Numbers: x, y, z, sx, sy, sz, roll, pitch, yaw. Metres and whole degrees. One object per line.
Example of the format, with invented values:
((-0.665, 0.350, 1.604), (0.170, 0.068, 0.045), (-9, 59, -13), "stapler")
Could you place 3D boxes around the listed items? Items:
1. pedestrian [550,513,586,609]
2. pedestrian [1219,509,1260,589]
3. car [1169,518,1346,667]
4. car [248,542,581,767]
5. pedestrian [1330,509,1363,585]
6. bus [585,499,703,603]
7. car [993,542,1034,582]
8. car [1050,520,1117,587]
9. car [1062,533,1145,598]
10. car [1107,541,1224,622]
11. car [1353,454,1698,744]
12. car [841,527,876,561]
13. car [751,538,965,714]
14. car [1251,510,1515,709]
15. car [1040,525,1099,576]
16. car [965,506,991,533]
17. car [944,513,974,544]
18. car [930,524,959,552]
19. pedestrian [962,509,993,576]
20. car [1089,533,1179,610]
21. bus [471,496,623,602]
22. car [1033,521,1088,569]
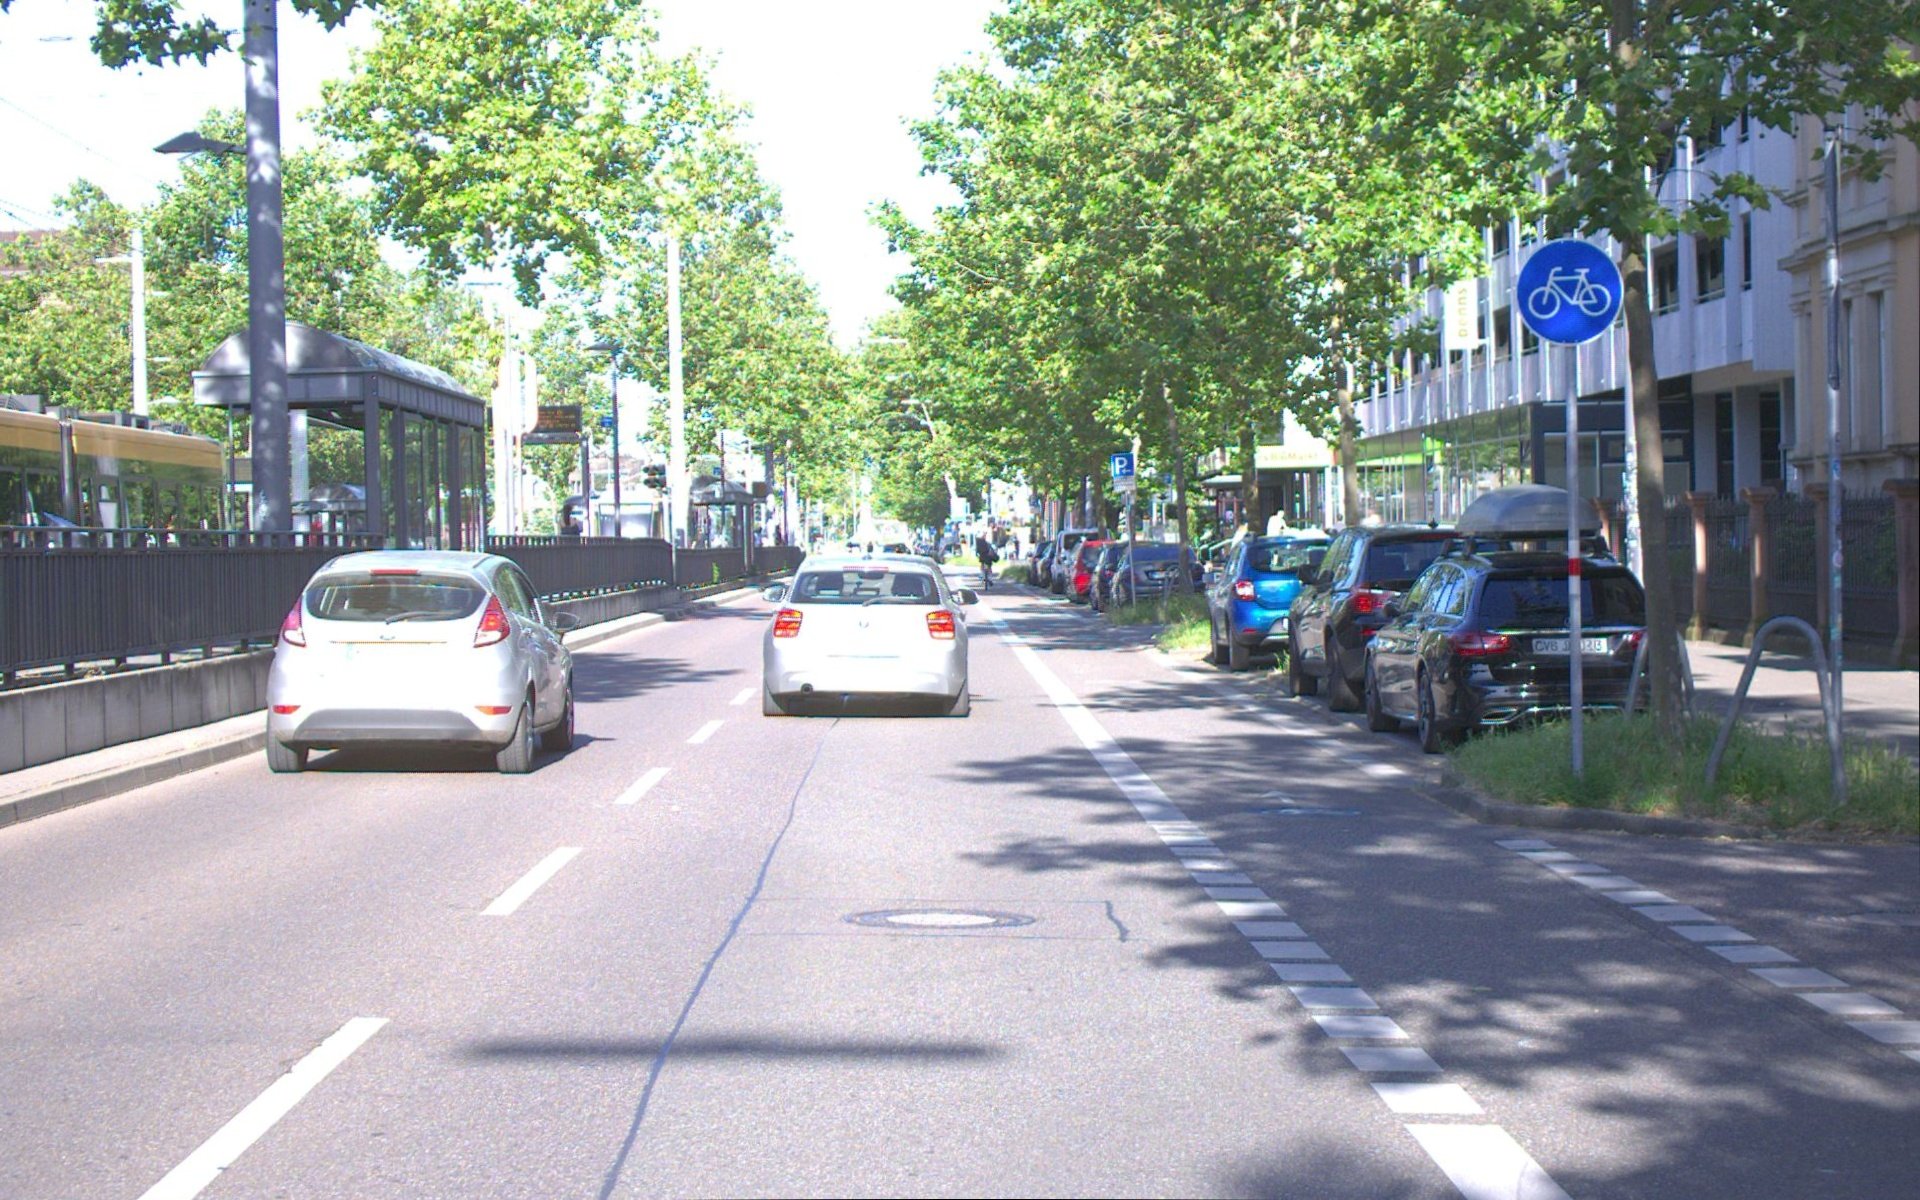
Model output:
((-7.991, -0.798, 70.103), (0.639, 1.947, 0.814), (1, 1, 0), "pedestrian")
((7.095, -1.303, 87.249), (0.963, 2.007, 0.938), (0, 1, 0), "pedestrian")
((3.510, -0.134, 41.141), (1.692, 1.652, 4.040), (-1, 2, -1), "car")
((-3.602, 0.308, 23.262), (1.646, 1.358, 3.760), (1, 1, 0), "car")
((10.269, -1.401, 91.420), (0.788, 2.007, 0.891), (0, 1, 0), "pedestrian")
((-11.786, -1.911, 129.947), (2.750, 3.613, 18.848), (-1, 1, 0), "bus")
((2.773, -2.012, 178.784), (1.993, 2.007, 4.000), (1, 1, 0), "car")
((3.512, -1.326, 98.284), (1.724, 1.874, 4.000), (1, 1, 0), "car")
((3.430, -0.821, 82.684), (1.806, 1.515, 4.000), (1, 0, 0), "car")
((3.985, -0.359, 67.362), (1.993, 1.504, 4.597), (1, 0, 0), "car")
((4.129, -0.057, 25.829), (1.754, 1.958, 4.738), (-1, 1, -1), "car")
((-6.118, -3.405, 207.817), (1.993, 2.007, 4.000), (1, 1, 0), "car")
((-0.892, 0.181, 30.640), (1.762, 1.427, 4.000), (1, 1, -1), "car")
((3.813, 0.031, 31.725), (1.798, 1.694, 4.738), (0, 1, -1), "car")
((3.407, -1.567, 107.529), (1.711, 1.557, 4.000), (1, 1, 0), "car")
((1.330, -5.973, 254.838), (1.875, 2.007, 3.711), (1, 1, 0), "car")
((-0.075, -4.829, 231.687), (1.993, 2.007, 4.000), (-1, 0, 0), "car")
((-1.106, -4.410, 243.998), (2.071, 2.007, 4.000), (0, 1, 0), "car")
((0.536, -1.749, 104.810), (0.838, 2.007, 0.648), (1, 1, 7), "pedestrian")
((3.659, -0.628, 72.659), (1.669, 1.546, 4.000), (1, 1, 0), "car")
((-15.454, -1.985, 130.931), (2.869, 3.616, 24.604), (-1, 1, 0), "bus")
((3.346, -1.846, 114.775), (1.700, 1.529, 3.717), (1, 1, 0), "car")
